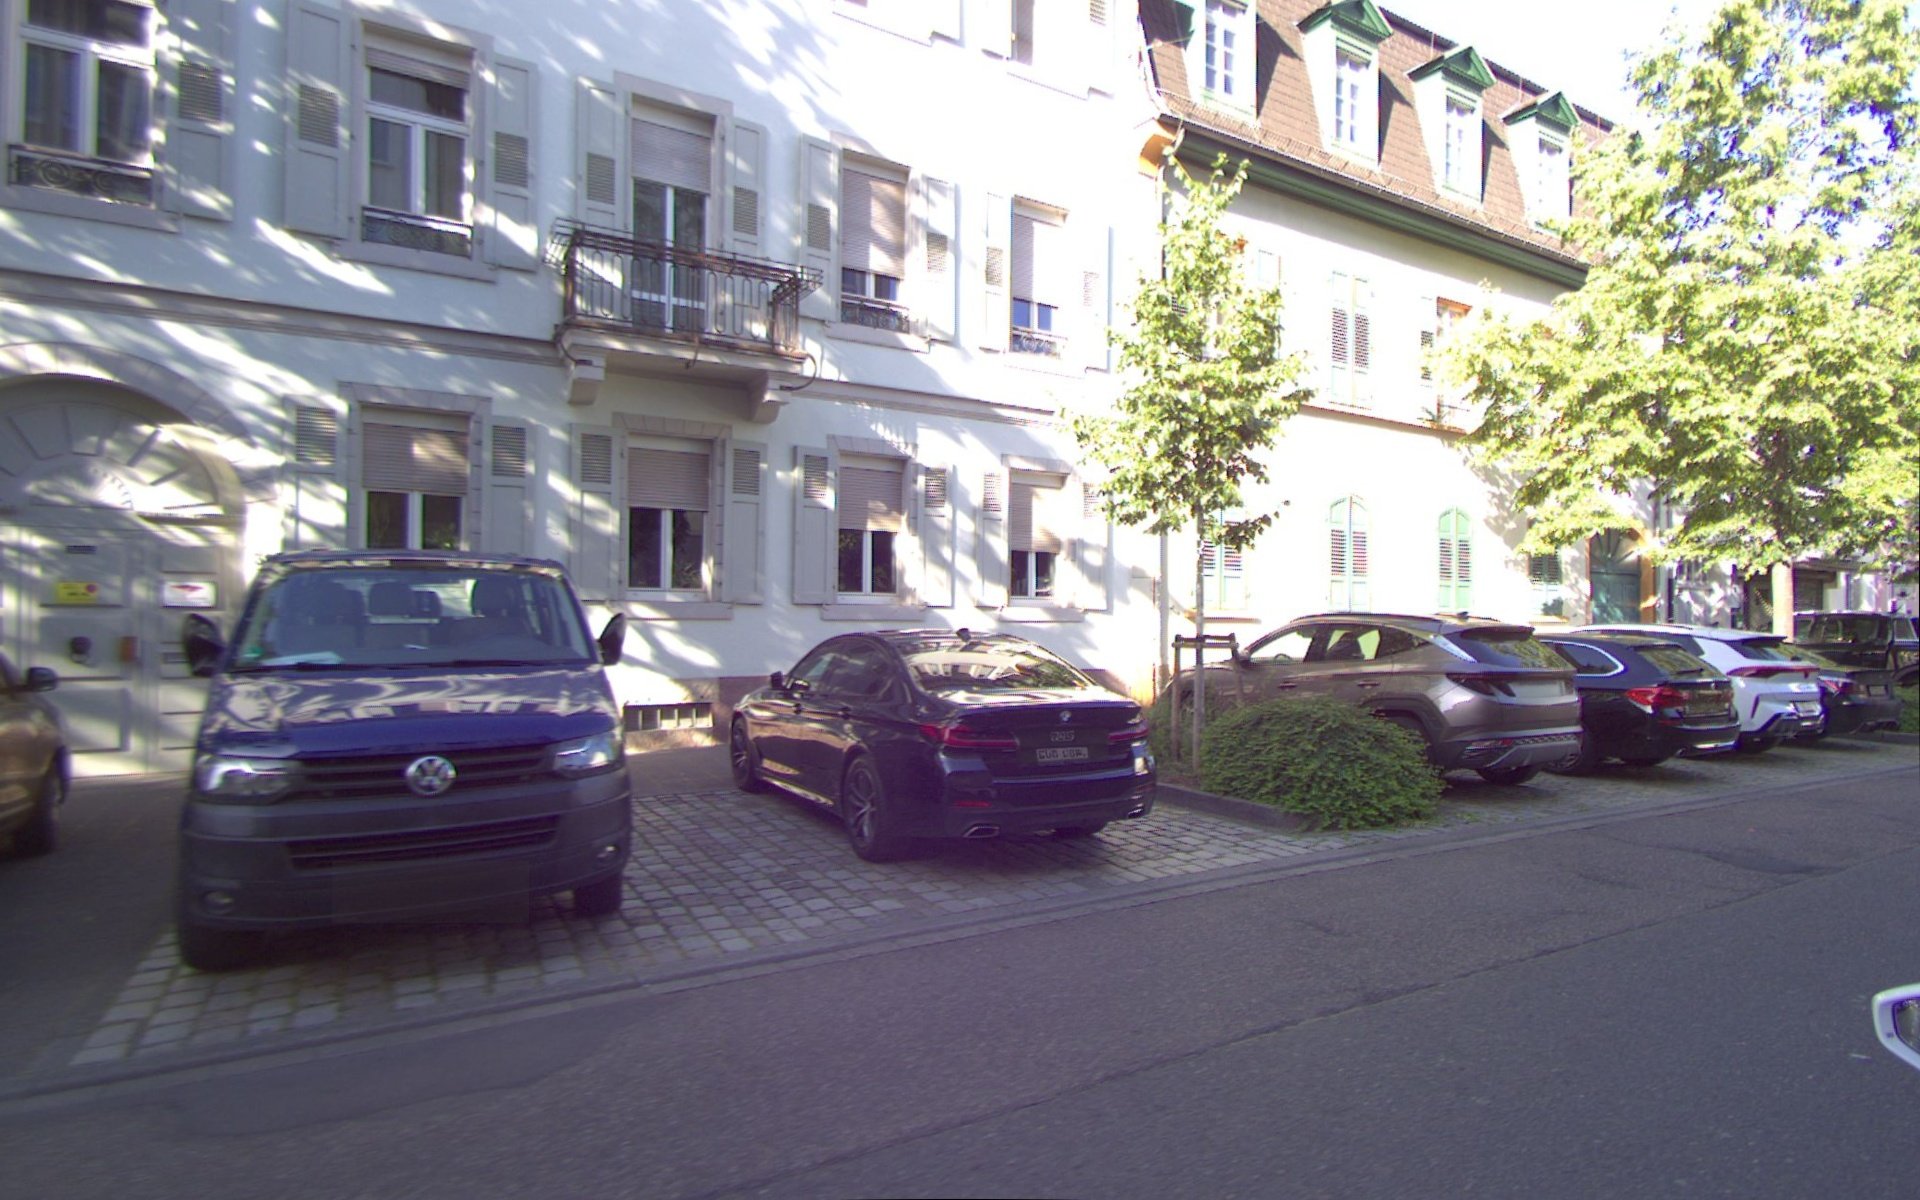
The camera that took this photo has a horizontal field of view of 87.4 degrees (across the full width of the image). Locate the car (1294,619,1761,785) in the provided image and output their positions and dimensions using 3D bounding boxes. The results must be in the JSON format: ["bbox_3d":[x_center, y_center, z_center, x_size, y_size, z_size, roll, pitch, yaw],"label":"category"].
[{"bbox_3d":[6.415,1.026,12.016,1.786,1.539,4.661,1,-1,-28],"label":"car"}]

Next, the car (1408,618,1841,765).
[{"bbox_3d":[8.695,1.073,13.667,1.786,1.593,4.661,1,-1,-28],"label":"car"}]

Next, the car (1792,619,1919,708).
[{"bbox_3d":[19.636,1.260,19.821,1.786,1.716,4.661,1,-1,-28],"label":"car"}]

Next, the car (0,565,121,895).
[{"bbox_3d":[-6.098,0.692,5.114,1.893,1.795,4.448,1,-1,-28],"label":"car"}]

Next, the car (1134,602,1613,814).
[{"bbox_3d":[4.021,0.920,10.701,1.786,1.735,4.661,1,-1,-28],"label":"car"}]

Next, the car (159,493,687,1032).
[{"bbox_3d":[-3.189,0.635,6.204,1.893,1.976,4.661,1,-1,-28],"label":"car"}]

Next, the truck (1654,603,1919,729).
[{"bbox_3d":[15.146,1.080,17.171,1.977,1.964,5.061,1,-2,-30],"label":"truck"}]

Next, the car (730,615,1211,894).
[{"bbox_3d":[-0.297,0.880,7.855,1.664,1.478,4.624,1,-1,-30],"label":"car"}]

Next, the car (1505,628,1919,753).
[{"bbox_3d":[10.887,1.198,14.973,1.786,1.482,4.661,1,-1,-28],"label":"car"}]
